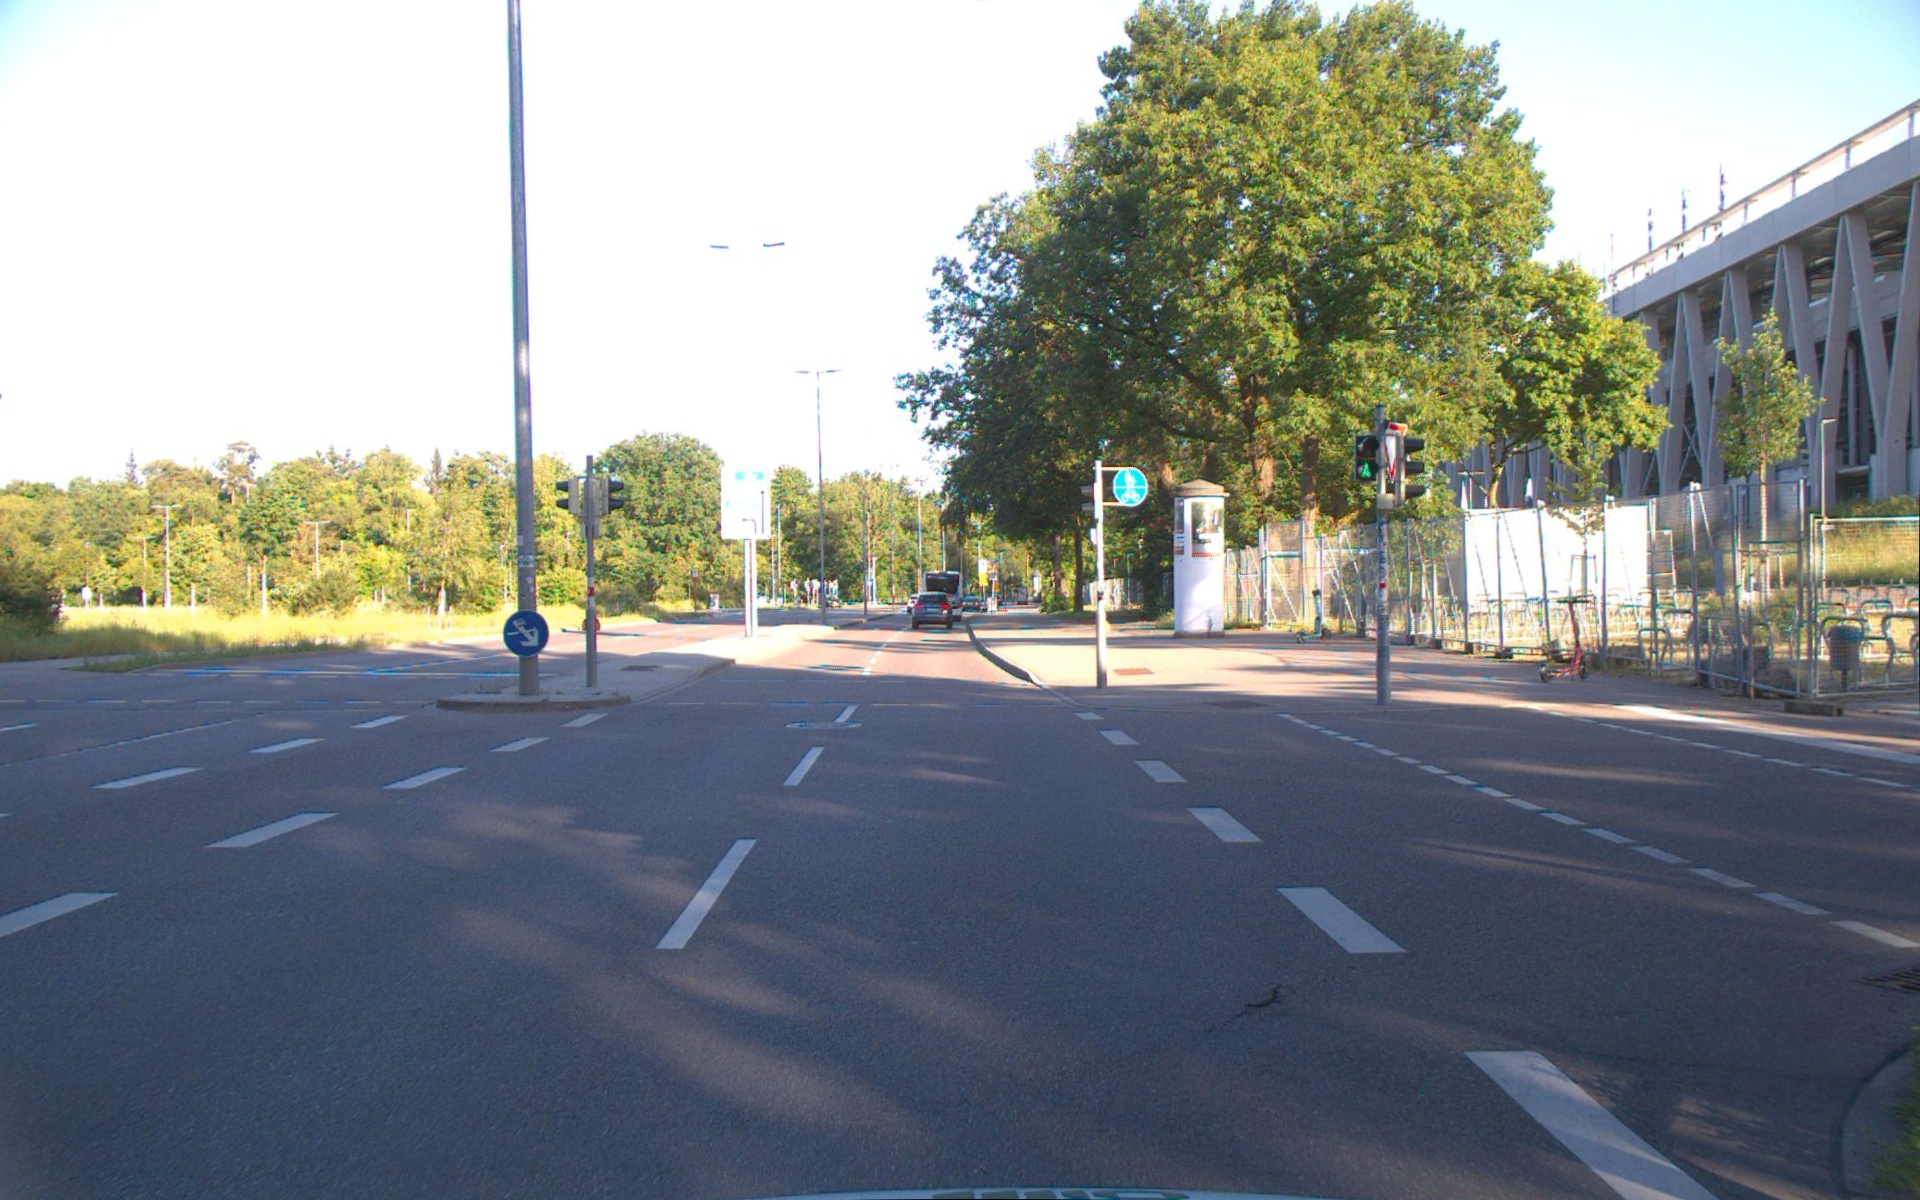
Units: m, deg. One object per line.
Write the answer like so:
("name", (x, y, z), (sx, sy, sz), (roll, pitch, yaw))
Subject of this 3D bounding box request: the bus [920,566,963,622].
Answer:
("bus", (-1.232, -0.431, 104.576), (2.552, 3.427, 7.973), (0, 1, -2))

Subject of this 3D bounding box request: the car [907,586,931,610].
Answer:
("car", (-3.220, -0.142, 130.889), (1.842, 1.796, 3.999), (-1, 1, -2))

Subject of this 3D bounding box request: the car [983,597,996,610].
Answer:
("car", (3.835, 0.444, 214.435), (1.560, 1.633, 3.583), (1, 0, 0))

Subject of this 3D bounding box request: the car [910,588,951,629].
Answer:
("car", (-1.373, 0.377, 76.171), (1.842, 1.796, 3.999), (-1, 1, -2))

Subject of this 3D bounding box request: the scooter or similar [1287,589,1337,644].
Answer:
("scooter or similar", (8.406, 0.394, 39.450), (0.558, 1.278, 1.594), (-1, 0, 37))

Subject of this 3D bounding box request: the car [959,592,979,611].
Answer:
("car", (0.919, 0.134, 163.004), (1.824, 1.713, 3.774), (-2, 1, 2))

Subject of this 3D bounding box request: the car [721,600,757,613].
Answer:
("car", (-25.279, 0.724, 189.084), (3.632, 1.377, 1.718), (-2, 1, -33))

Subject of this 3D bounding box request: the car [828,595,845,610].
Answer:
("car", (-14.499, 0.266, 194.391), (1.825, 1.713, 3.771), (-2, 1, -2))

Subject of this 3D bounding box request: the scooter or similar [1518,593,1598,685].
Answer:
("scooter or similar", (8.834, 0.557, 24.427), (1.351, 1.310, 0.594), (-1, 1, -45))
